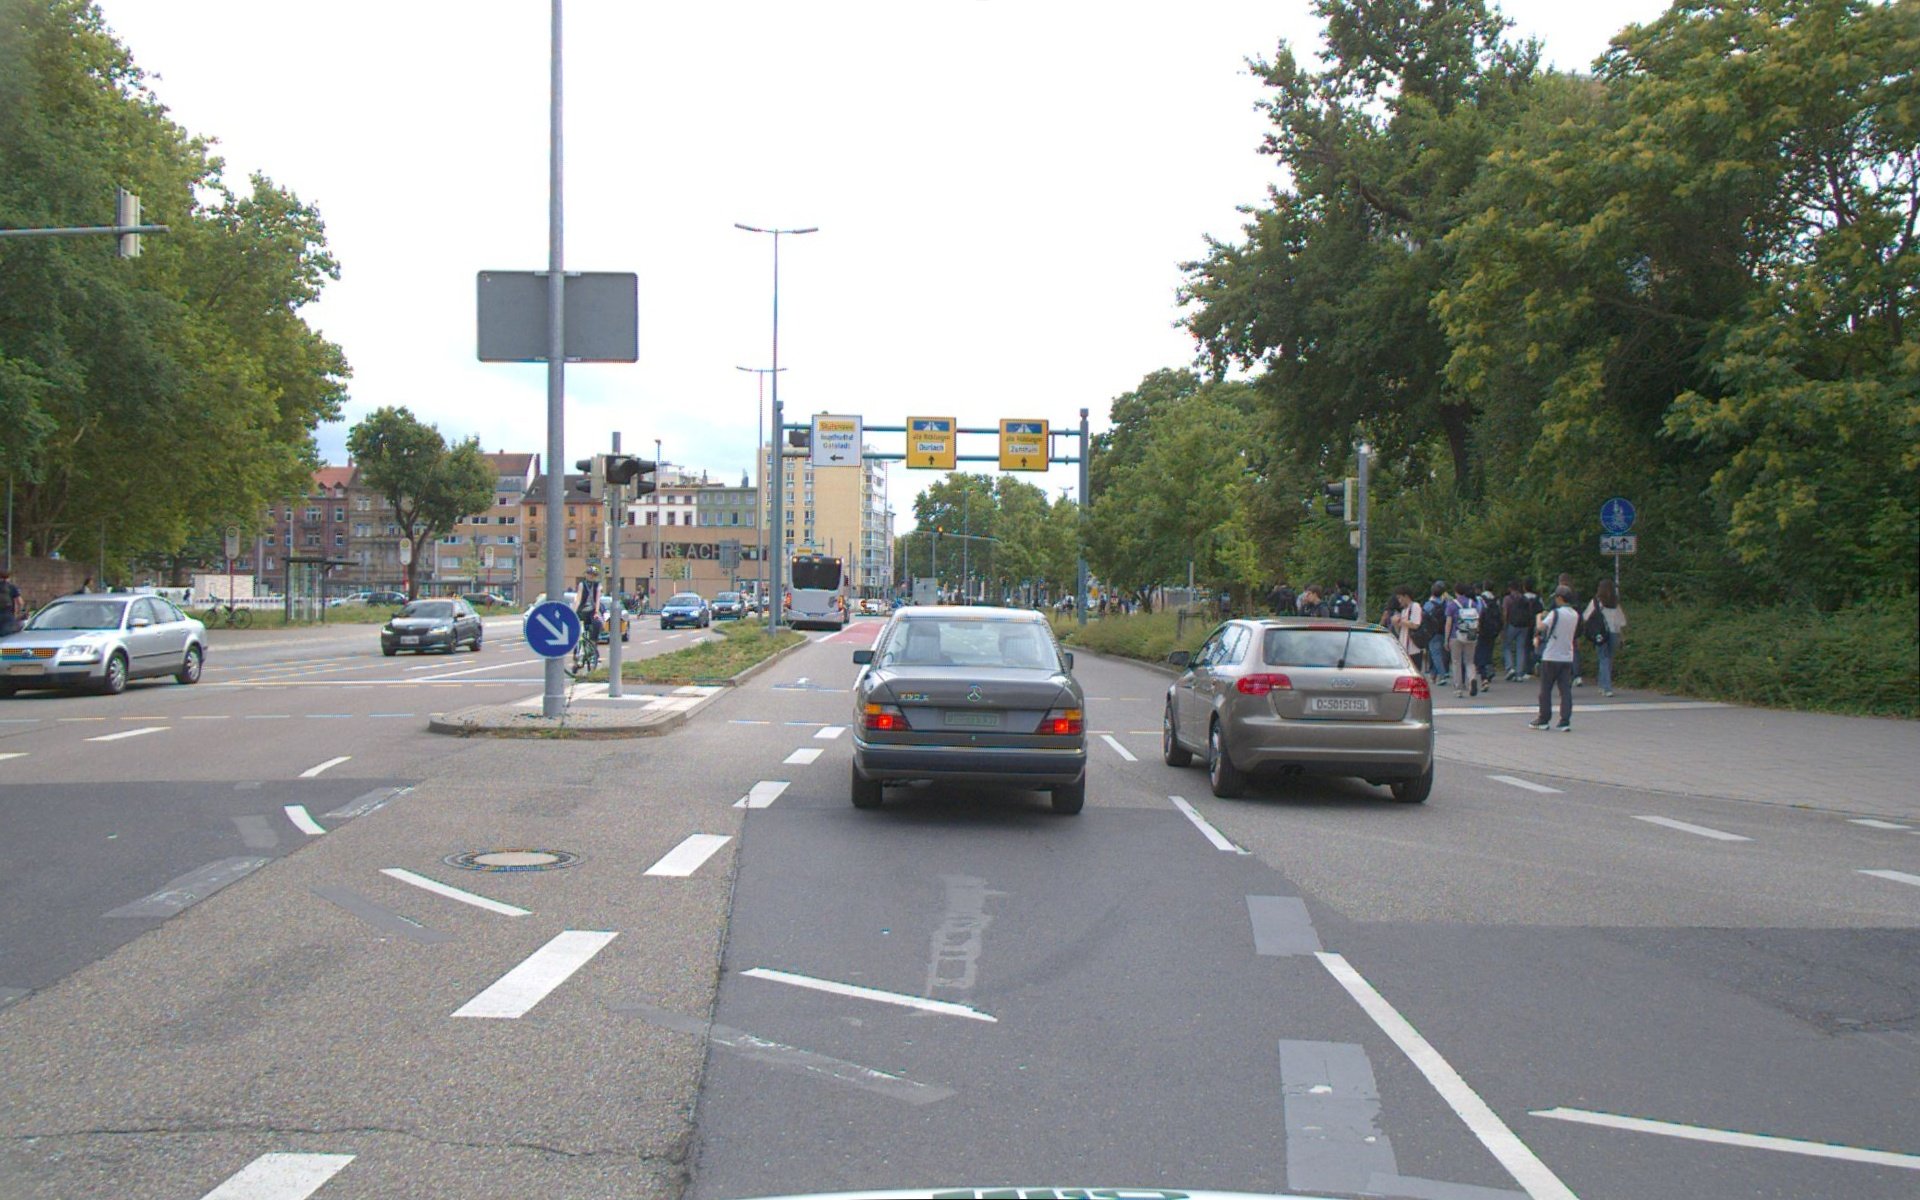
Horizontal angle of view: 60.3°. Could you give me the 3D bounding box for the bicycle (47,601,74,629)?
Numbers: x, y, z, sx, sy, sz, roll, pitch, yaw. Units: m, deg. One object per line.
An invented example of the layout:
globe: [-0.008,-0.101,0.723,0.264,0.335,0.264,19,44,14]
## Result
bicycle: [-27.592,0.452,50.744,0.434,0.842,1.611,3,-1,-20]

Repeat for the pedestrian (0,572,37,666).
pedestrian: [-18.414,0.372,32.148,0.749,1.814,0.716,1,-2,-27]

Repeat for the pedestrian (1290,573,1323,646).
pedestrian: [8.421,0.222,40.255,0.606,1.766,0.814,0,0,-2]

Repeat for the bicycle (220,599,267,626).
bicycle: [-25.045,0.431,57.863,0.460,0.935,2.340,1,0,5]

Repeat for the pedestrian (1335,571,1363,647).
pedestrian: [9.268,0.213,39.398,0.474,1.794,0.663,0,0,-2]

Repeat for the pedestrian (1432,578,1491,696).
pedestrian: [7.644,0.549,25.215,0.612,1.775,0.779,0,0,-5]

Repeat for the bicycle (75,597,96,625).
bicycle: [-29.068,0.365,54.987,0.341,0.893,1.513,3,-1,-20]

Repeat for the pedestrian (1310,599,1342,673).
pedestrian: [8.467,0.825,38.235,0.544,1.684,0.753,0,0,-2]

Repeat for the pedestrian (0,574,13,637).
pedestrian: [-24.915,0.139,42.842,0.579,1.620,0.729,1,-2,-25]

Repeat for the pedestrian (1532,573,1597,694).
pedestrian: [9.066,0.490,24.809,0.644,1.775,0.779,0,0,-5]

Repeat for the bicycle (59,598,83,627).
bicycle: [-28.407,0.390,52.858,0.410,0.893,1.546,3,-1,-20]

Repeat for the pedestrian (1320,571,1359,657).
pedestrian: [8.288,0.306,36.151,0.643,1.853,0.812,0,0,-3]

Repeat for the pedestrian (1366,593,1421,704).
pedestrian: [7.024,0.776,26.834,0.644,1.775,0.779,0,0,-5]

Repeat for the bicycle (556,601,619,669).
bicycle: [-6.176,0.558,27.500,0.561,1.074,1.926,1,0,1]

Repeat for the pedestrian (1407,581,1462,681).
pedestrian: [8.085,0.518,28.194,0.644,1.677,0.811,0,0,-5]

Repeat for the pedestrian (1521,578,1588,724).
pedestrian: [7.131,0.598,19.853,0.535,1.716,0.636,1,0,-5]

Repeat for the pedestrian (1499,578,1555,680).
pedestrian: [9.756,0.490,28.486,0.644,1.729,0.779,0,0,-5]

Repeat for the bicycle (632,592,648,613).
bicycle: [-18.475,0.144,95.522,0.570,1.191,1.963,0,0,-2]

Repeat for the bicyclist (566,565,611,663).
bicyclist: [-6.171,0.226,27.515,0.560,1.601,0.699,1,0,1]

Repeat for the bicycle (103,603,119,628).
bicycle: [-31.894,0.581,62.166,0.475,0.923,1.608,0,0,-25]

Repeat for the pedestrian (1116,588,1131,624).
pedestrian: [8.034,0.290,81.206,0.632,1.743,0.562,0,0,12]

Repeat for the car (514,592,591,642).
car: [-14.457,0.571,58.841,1.827,1.681,4.420,1,0,-3]

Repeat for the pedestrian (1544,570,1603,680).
pedestrian: [10.077,0.406,27.176,0.644,1.775,0.779,0,0,-5]

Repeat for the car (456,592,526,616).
car: [-33.777,0.302,119.217,4.581,1.501,1.657,2,-1,-8]

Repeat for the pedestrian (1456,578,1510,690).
pedestrian: [8.390,0.538,26.560,0.570,1.775,0.789,0,0,-5]

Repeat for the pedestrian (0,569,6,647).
pedestrian: [-22.811,0.189,38.765,0.751,1.814,0.775,1,-2,-32]

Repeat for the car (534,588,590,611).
car: [-28.886,-0.045,120.086,3.784,1.544,1.657,2,0,-8]

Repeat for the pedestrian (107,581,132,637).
pedestrian: [-25.447,0.272,50.096,0.551,1.697,0.623,1,-2,-20]

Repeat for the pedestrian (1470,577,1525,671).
pedestrian: [9.909,0.435,30.529,0.644,1.696,0.970,0,0,-5]

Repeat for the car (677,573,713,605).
car: [-17.048,-0.703,106.348,1.903,2.049,3.997,0,0,-4]

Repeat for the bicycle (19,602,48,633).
bicycle: [-26.353,0.480,47.059,0.434,0.842,1.611,3,-1,-20]

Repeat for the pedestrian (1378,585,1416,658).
pedestrian: [9.750,0.466,36.931,0.623,1.611,0.785,0,0,-3]

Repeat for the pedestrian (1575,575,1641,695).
pedestrian: [9.739,0.511,24.864,0.644,1.775,0.779,0,0,-5]

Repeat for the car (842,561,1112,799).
car: [0.072,0.500,12.707,1.725,1.515,4.170,1,0,-1]

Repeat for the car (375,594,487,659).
car: [-14.275,0.681,44.867,1.860,1.644,4.740,1,0,-5]

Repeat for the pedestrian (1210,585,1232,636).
pedestrian: [8.681,0.343,55.010,0.575,1.712,0.748,0,0,-2]

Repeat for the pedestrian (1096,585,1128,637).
pedestrian: [5.509,0.404,59.931,0.915,1.862,0.886,0,0,24]

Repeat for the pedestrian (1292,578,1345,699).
pedestrian: [5.296,0.564,24.461,0.589,1.765,0.654,1,0,-5]

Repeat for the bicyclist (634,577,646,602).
bicyclist: [-18.468,-0.590,95.438,0.568,1.444,0.811,0,0,-3]

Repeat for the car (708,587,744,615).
car: [-12.987,0.022,91.992,1.540,1.515,3.635,-1,0,-1]

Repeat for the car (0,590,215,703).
car: [-12.837,0.621,24.699,1.727,1.515,4.540,1,0,-5]

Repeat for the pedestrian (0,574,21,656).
pedestrian: [-21.584,0.345,37.207,0.751,1.814,0.914,1,-2,-31]

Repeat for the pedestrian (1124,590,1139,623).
pedestrian: [7.953,0.291,76.761,0.643,1.496,0.562,0,0,14]

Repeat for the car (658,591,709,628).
car: [-12.070,0.407,72.391,1.766,1.538,4.101,1,0,-3]

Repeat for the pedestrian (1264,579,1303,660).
pedestrian: [7.458,0.445,38.158,0.679,1.853,0.954,0,0,-2]

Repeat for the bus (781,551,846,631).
bus: [-6.657,-0.410,75.728,2.776,3.449,8.175,1,0,-5]

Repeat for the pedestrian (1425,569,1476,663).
pedestrian: [9.024,0.288,30.430,0.644,1.719,0.841,0,0,-5]

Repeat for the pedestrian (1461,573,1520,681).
pedestrian: [9.094,0.451,28.372,0.644,1.797,0.957,-1,0,-5]

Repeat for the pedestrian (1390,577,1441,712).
pedestrian: [6.032,0.578,21.932,0.445,1.765,0.636,1,0,-5]

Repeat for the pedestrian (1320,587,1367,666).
pedestrian: [8.024,0.554,34.630,0.760,1.630,0.812,0,0,-3]

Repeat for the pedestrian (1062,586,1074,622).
pedestrian: [6.144,0.215,94.256,0.602,2.049,0.597,1,0,-4]

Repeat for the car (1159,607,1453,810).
car: [2.843,0.827,14.365,1.689,1.483,3.735,1,0,-1]
